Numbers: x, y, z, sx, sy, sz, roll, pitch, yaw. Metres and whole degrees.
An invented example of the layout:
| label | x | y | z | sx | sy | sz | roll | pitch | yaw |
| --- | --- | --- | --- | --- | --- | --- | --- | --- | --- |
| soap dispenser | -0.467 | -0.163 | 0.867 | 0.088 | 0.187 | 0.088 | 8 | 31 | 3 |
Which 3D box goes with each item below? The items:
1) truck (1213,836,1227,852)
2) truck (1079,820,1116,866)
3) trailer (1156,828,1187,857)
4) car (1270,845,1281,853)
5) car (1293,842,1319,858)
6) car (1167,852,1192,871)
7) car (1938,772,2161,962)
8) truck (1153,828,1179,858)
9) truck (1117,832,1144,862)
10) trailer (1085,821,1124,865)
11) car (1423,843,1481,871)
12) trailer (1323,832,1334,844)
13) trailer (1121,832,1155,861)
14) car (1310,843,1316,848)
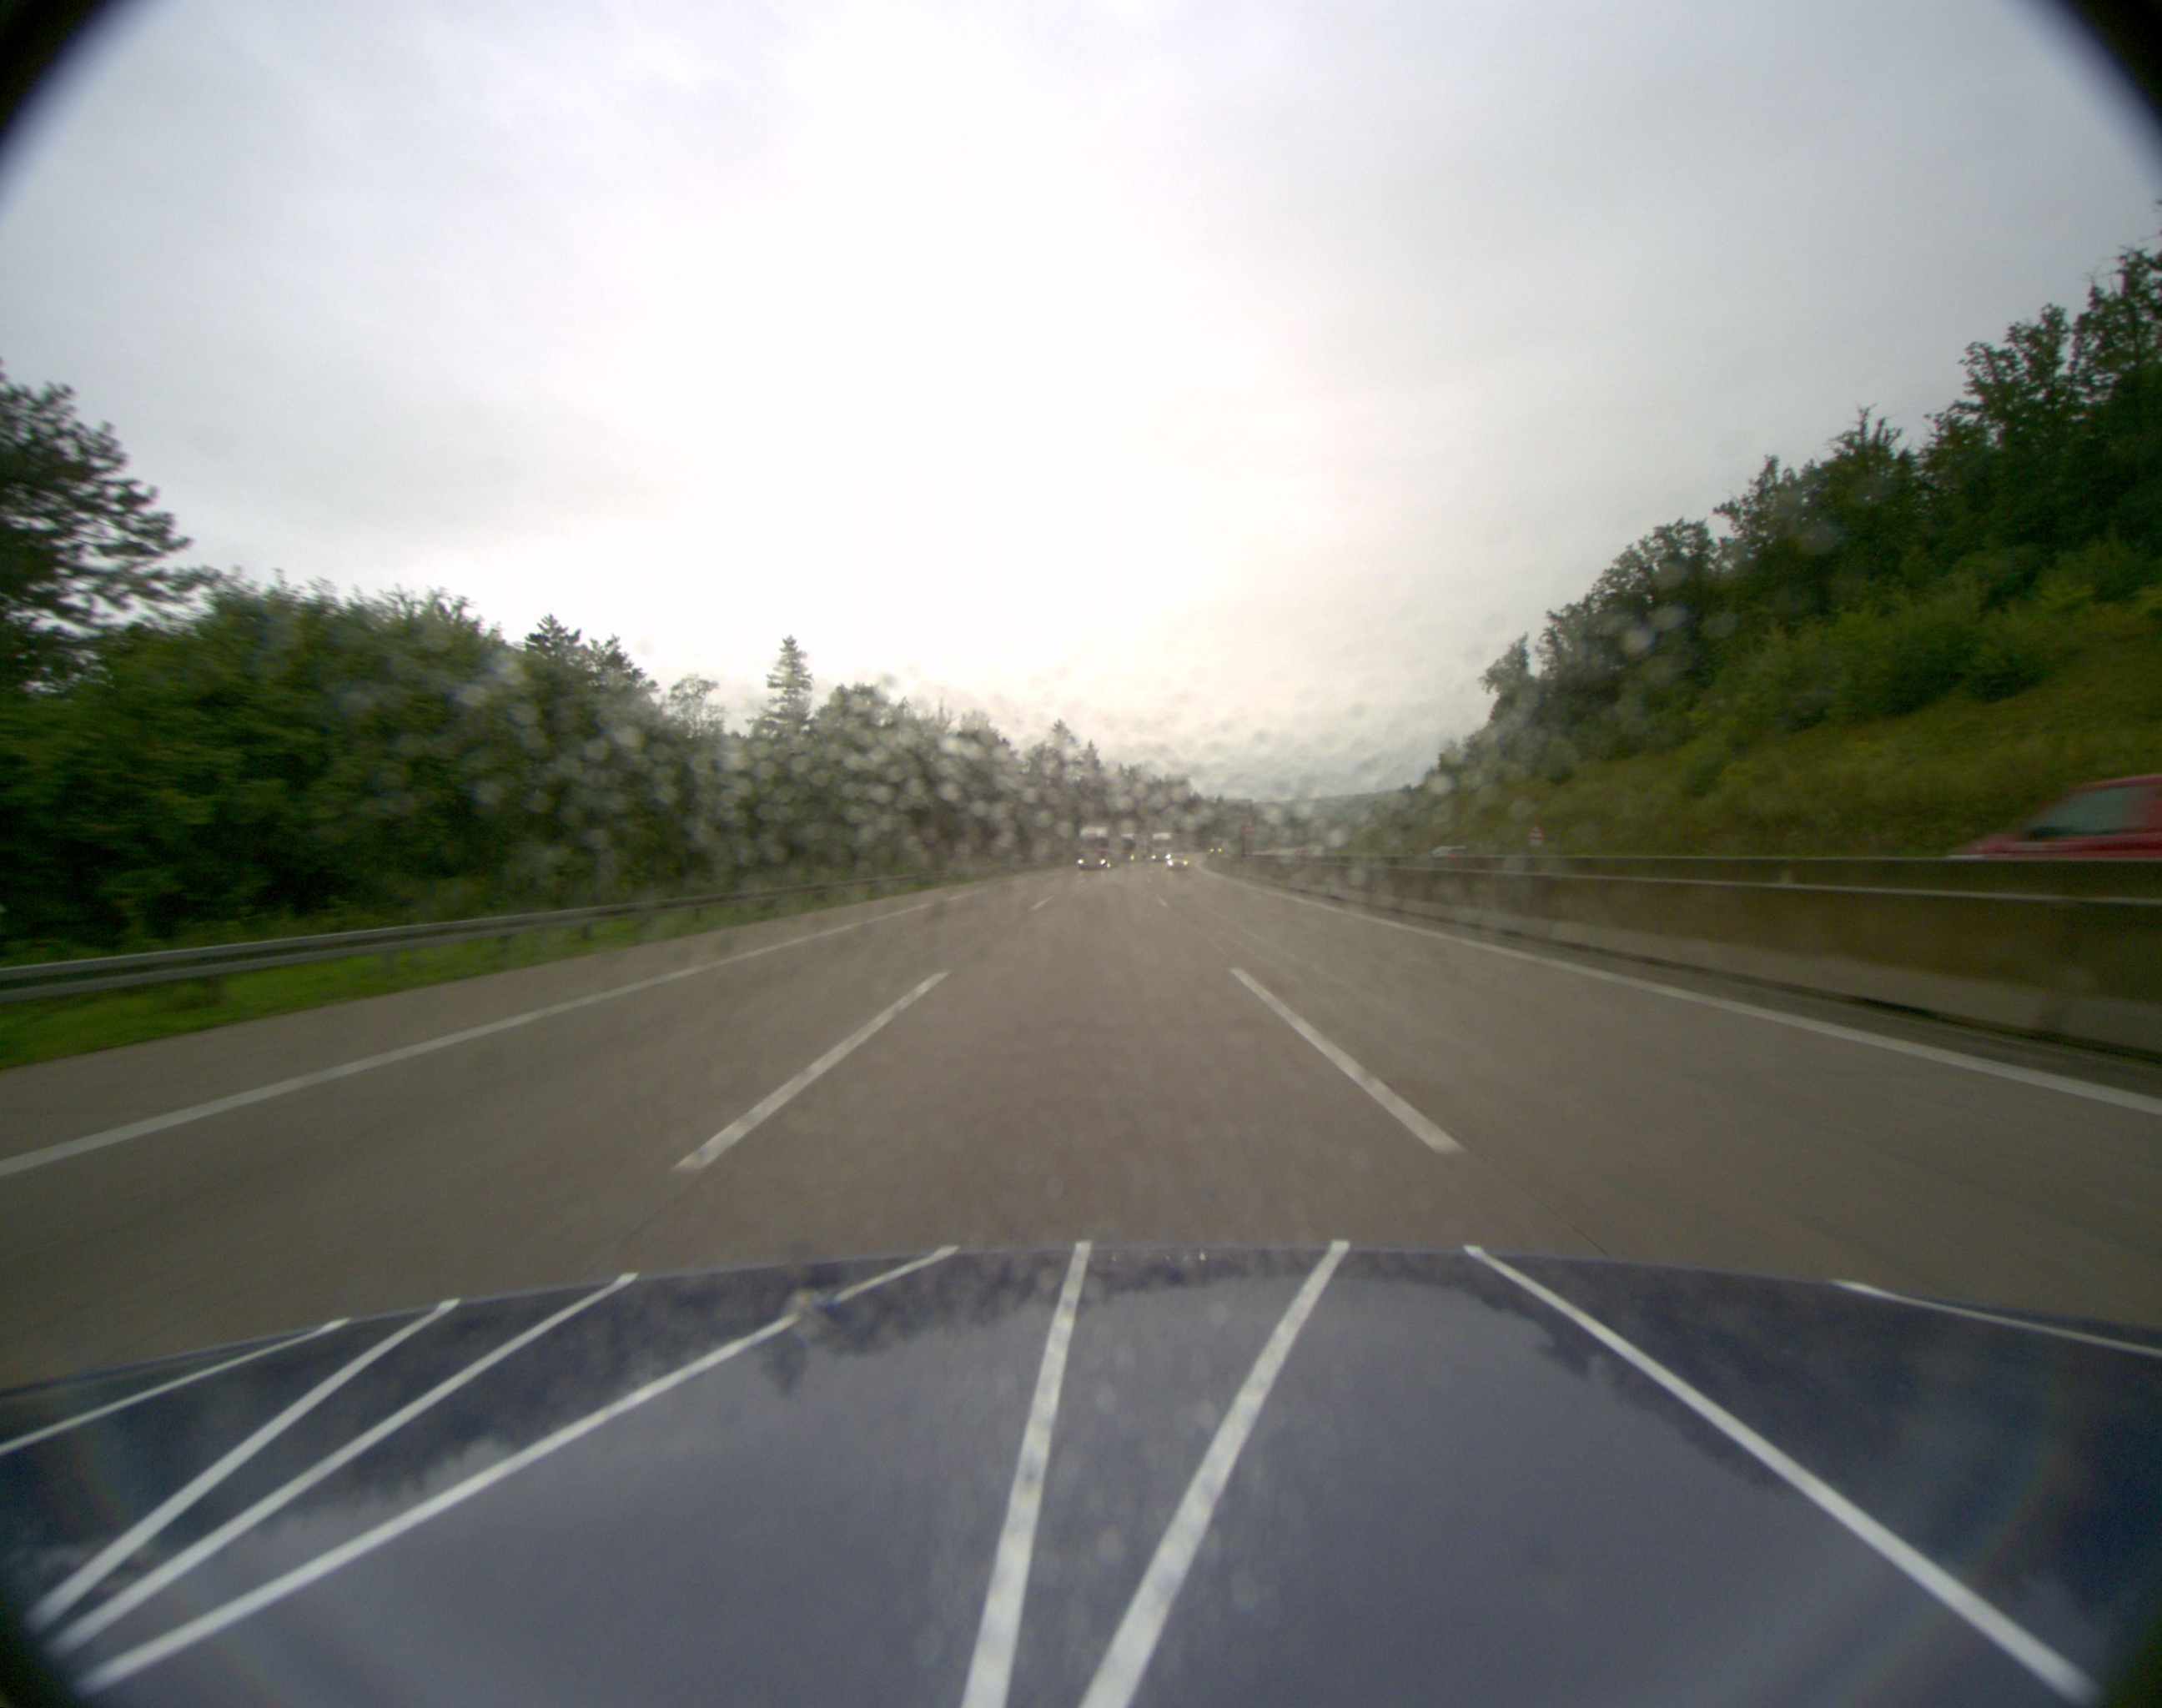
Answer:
| label | x | y | z | sx | sy | sz | roll | pitch | yaw |
| --- | --- | --- | --- | --- | --- | --- | --- | --- | --- |
| truck | 37.538 | -2.762 | 204.802 | 2.734 | 4.127 | 8.631 | -1 | 0 | 17 |
| truck | 1.605 | -1.020 | 70.966 | 2.379 | 3.930 | 6.163 | -4 | 0 | 8 |
| trailer | 13.844 | -1.680 | 114.987 | 2.683 | 4.017 | 13.718 | -3 | 0 | 14 |
| car | 36.403 | -0.957 | 142.234 | 1.779 | 1.509 | 4.004 | -1 | 1 | 14 |
| car | 23.235 | -0.416 | 78.652 | 1.780 | 1.629 | 4.001 | -1 | 1 | 5 |
| car | 8.305 | 0.591 | 63.826 | 1.848 | 1.474 | 4.452 | -1 | 1 | 10 |
| car | 12.755 | 0.122 | 7.766 | 1.998 | 2.070 | 5.331 | -1 | 0 | 0 |
| truck | 12.212 | -1.569 | 108.278 | 2.725 | 4.017 | 5.758 | -3 | 0 | 14 |
| truck | 7.007 | -1.019 | 106.818 | 2.803 | 4.080 | 5.972 | -1 | 1 | 14 |
| trailer | 2.550 | -0.980 | 78.007 | 2.375 | 3.930 | 12.529 | -5 | -1 | 8 |
| car | 23.381 | 0.152 | 48.047 | 1.781 | 1.629 | 4.254 | -1 | 1 | 3 |
| trailer | 83.628 | -5.286 | 256.626 | 2.909 | 3.867 | 11.051 | -1 | 1 | 21 |
| trailer | 8.681 | -1.186 | 113.402 | 2.738 | 4.080 | 13.694 | -1 | 1 | 14 |
| car | 69.342 | -2.472 | 226.965 | 1.733 | 1.567 | 4.248 | 0 | 1 | 16 |
